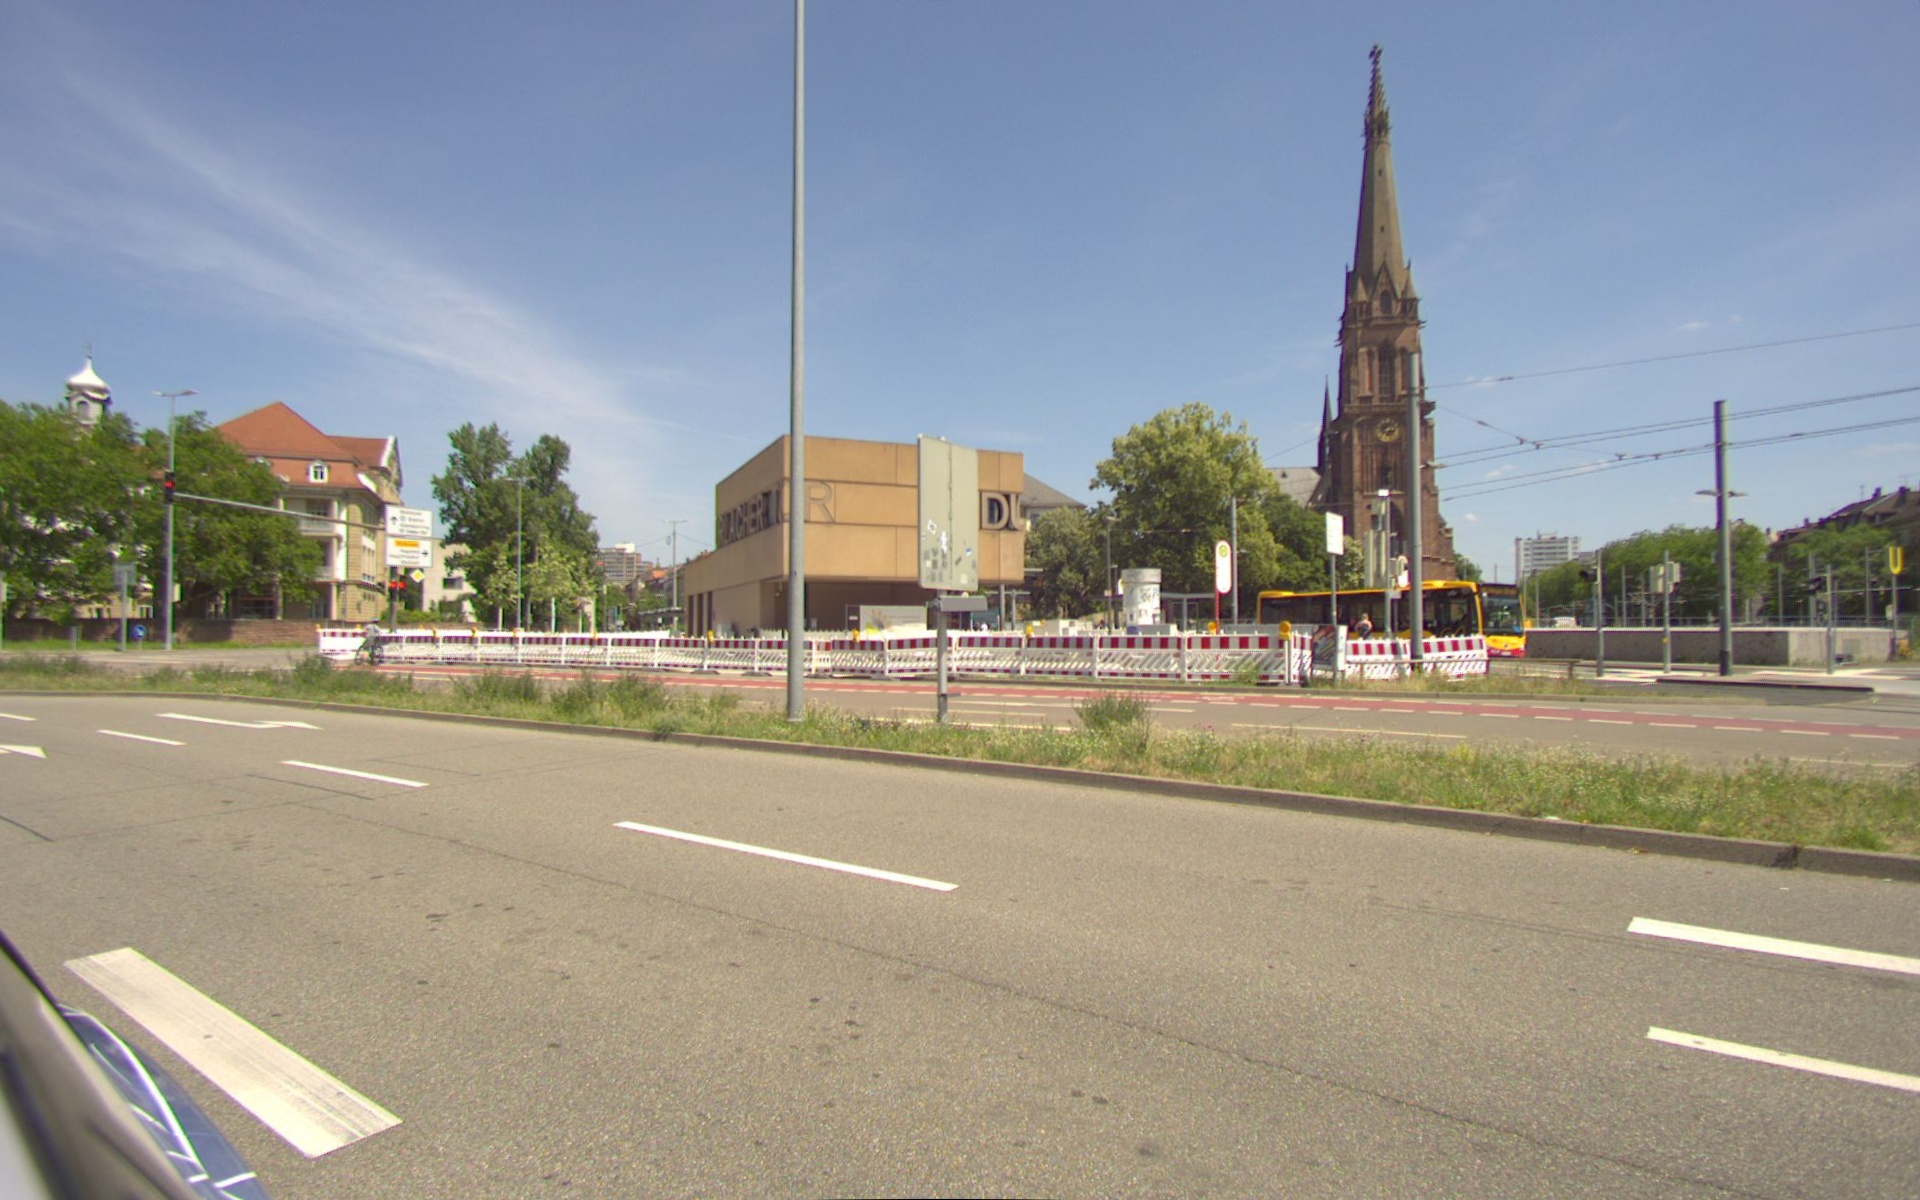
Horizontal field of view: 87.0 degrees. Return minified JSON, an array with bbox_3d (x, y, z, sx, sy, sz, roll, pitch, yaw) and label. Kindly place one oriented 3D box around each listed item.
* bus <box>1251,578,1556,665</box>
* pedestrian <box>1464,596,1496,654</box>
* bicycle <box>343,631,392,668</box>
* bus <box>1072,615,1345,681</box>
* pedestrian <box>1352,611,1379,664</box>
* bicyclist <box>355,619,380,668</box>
[{"bbox_3d":[17.617,0.940,41.874,3.674,3.064,12.293,1,-2,-23],"label":"bus"},{"bbox_3d":[18.481,0.895,35.994,0.601,2.011,0.666,-1,-3,-19],"label":"pedestrian"},{"bbox_3d":[-19.736,1.647,33.695,1.890,1.189,0.519,0,-2,29],"label":"bicycle"},{"bbox_3d":[5.380,1.102,22.549,5.804,1.259,1.234,-4,-3,34],"label":"bus"},{"bbox_3d":[15.776,1.468,39.365,0.601,2.011,0.665,-2,-3,-10],"label":"pedestrian"},{"bbox_3d":[-19.759,1.439,33.726,0.496,1.591,0.526,-1,-2,29],"label":"bicyclist"}]
